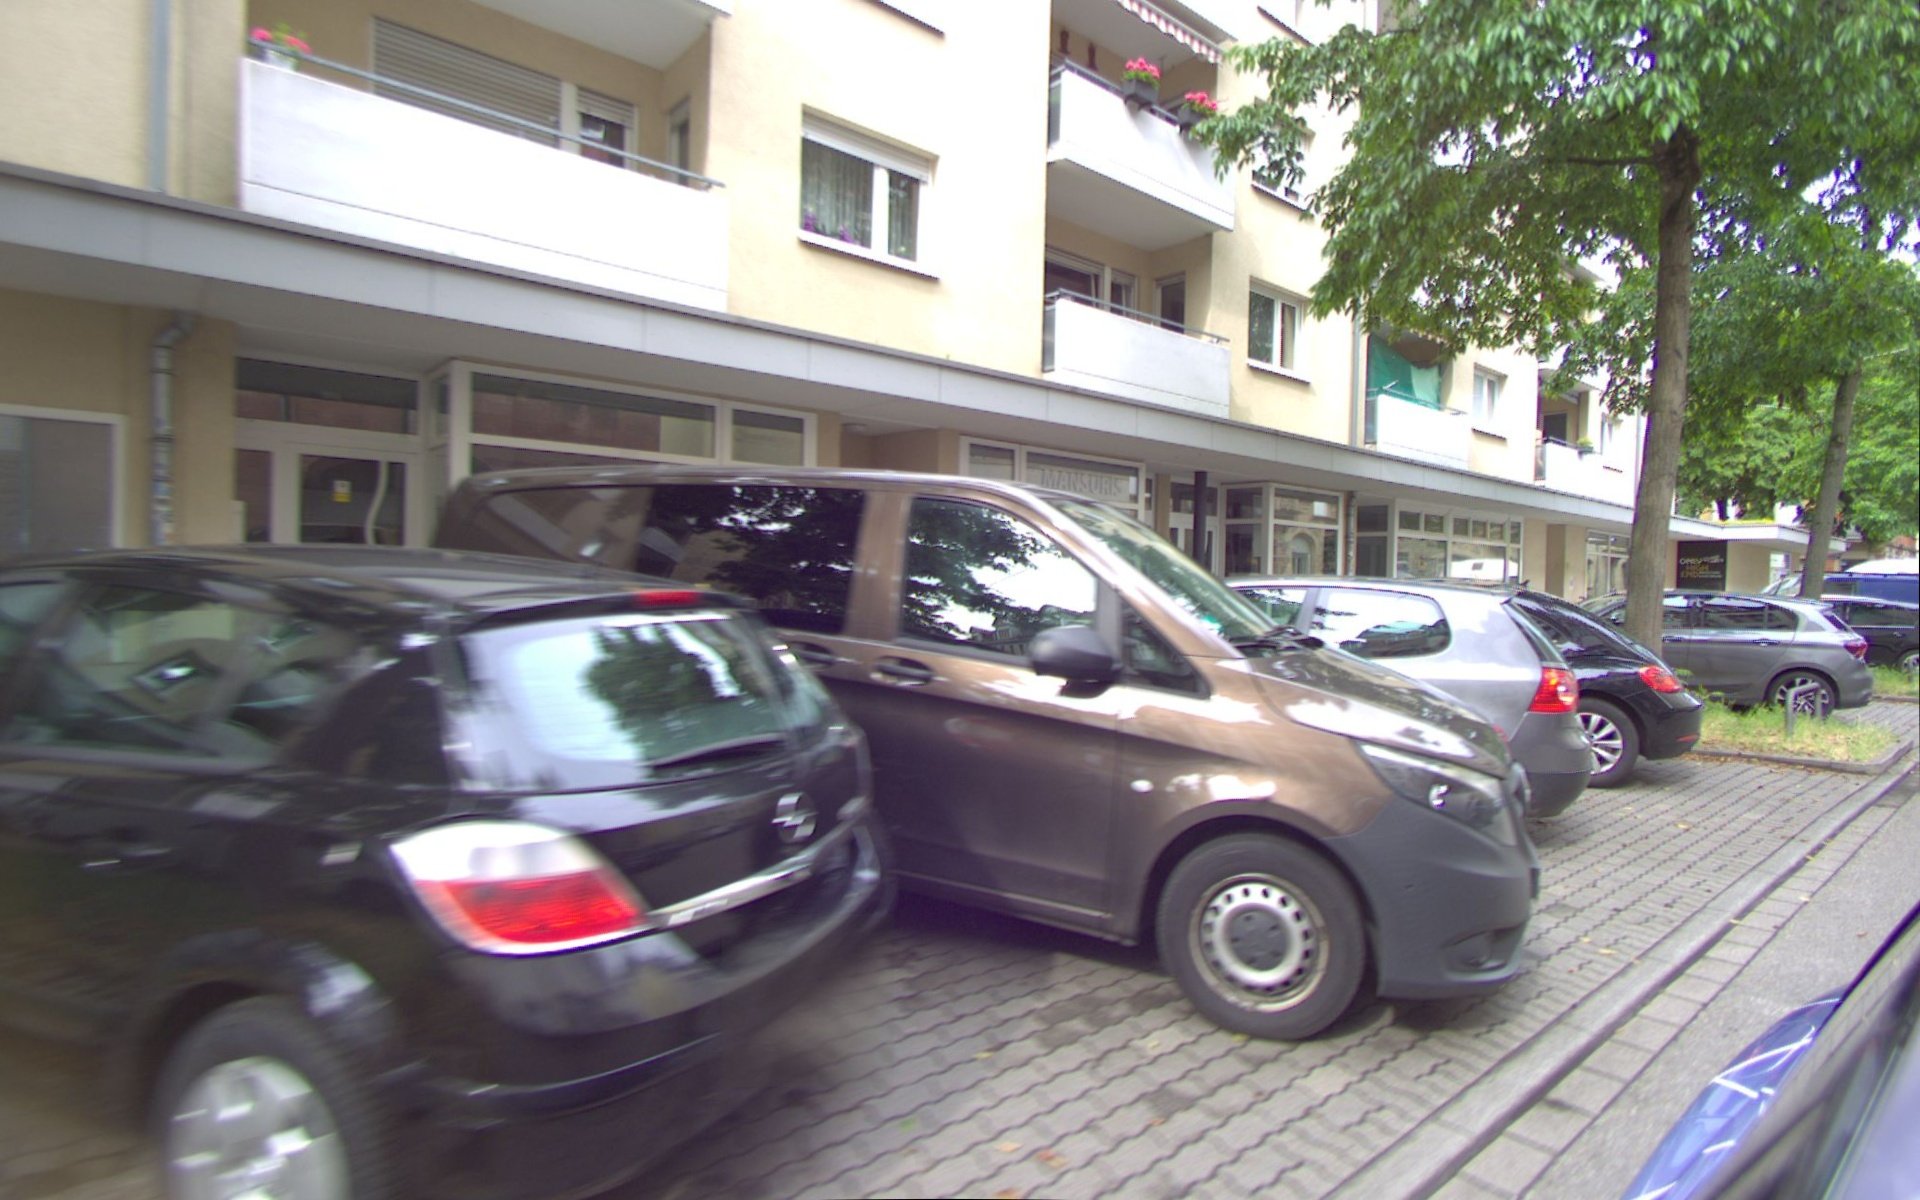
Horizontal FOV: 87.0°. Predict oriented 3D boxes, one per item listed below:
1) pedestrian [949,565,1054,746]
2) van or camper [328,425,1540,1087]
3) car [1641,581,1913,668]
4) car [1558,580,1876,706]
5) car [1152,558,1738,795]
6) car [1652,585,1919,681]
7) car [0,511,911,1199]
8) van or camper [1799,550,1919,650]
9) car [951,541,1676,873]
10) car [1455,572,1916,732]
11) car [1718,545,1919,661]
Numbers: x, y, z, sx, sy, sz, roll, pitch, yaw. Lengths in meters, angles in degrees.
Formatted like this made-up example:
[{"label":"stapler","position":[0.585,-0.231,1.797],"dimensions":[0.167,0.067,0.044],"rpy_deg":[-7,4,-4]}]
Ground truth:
[{"label":"pedestrian","position":[0.428,0.540,10.475],"dimensions":[0.834,1.763,0.625],"rpy_deg":[0,2,-40]},{"label":"van or camper","position":[-0.306,0.285,4.814],"dimensions":[4.965,1.892,2.112],"rpy_deg":[3,3,23]},{"label":"car","position":[16.268,0.421,20.422],"dimensions":[3.874,1.483,1.809],"rpy_deg":[2,2,26]},{"label":"car","position":[10.679,0.518,14.609],"dimensions":[3.339,1.515,1.835],"rpy_deg":[2,2,27]},{"label":"car","position":[3.878,0.461,8.664],"dimensions":[4.013,1.501,1.931],"rpy_deg":[3,3,26]},{"label":"car","position":[15.077,0.541,18.068],"dimensions":[4.060,1.460,1.842],"rpy_deg":[2,2,19]},{"label":"car","position":[-2.341,0.497,3.096],"dimensions":[3.957,1.462,1.831],"rpy_deg":[4,3,19]},{"label":"van or camper","position":[25.949,0.007,27.403],"dimensions":[4.535,2.628,1.900],"rpy_deg":[1,0,18]},{"label":"car","position":[2.076,0.447,6.563],"dimensions":[3.822,1.520,1.897],"rpy_deg":[3,3,25]},{"label":"car","position":[8.640,0.518,12.583],"dimensions":[4.175,1.518,1.964],"rpy_deg":[3,3,20]},{"label":"car","position":[19.570,0.086,21.779],"dimensions":[4.634,2.223,2.060],"rpy_deg":[4,2,12]}]
